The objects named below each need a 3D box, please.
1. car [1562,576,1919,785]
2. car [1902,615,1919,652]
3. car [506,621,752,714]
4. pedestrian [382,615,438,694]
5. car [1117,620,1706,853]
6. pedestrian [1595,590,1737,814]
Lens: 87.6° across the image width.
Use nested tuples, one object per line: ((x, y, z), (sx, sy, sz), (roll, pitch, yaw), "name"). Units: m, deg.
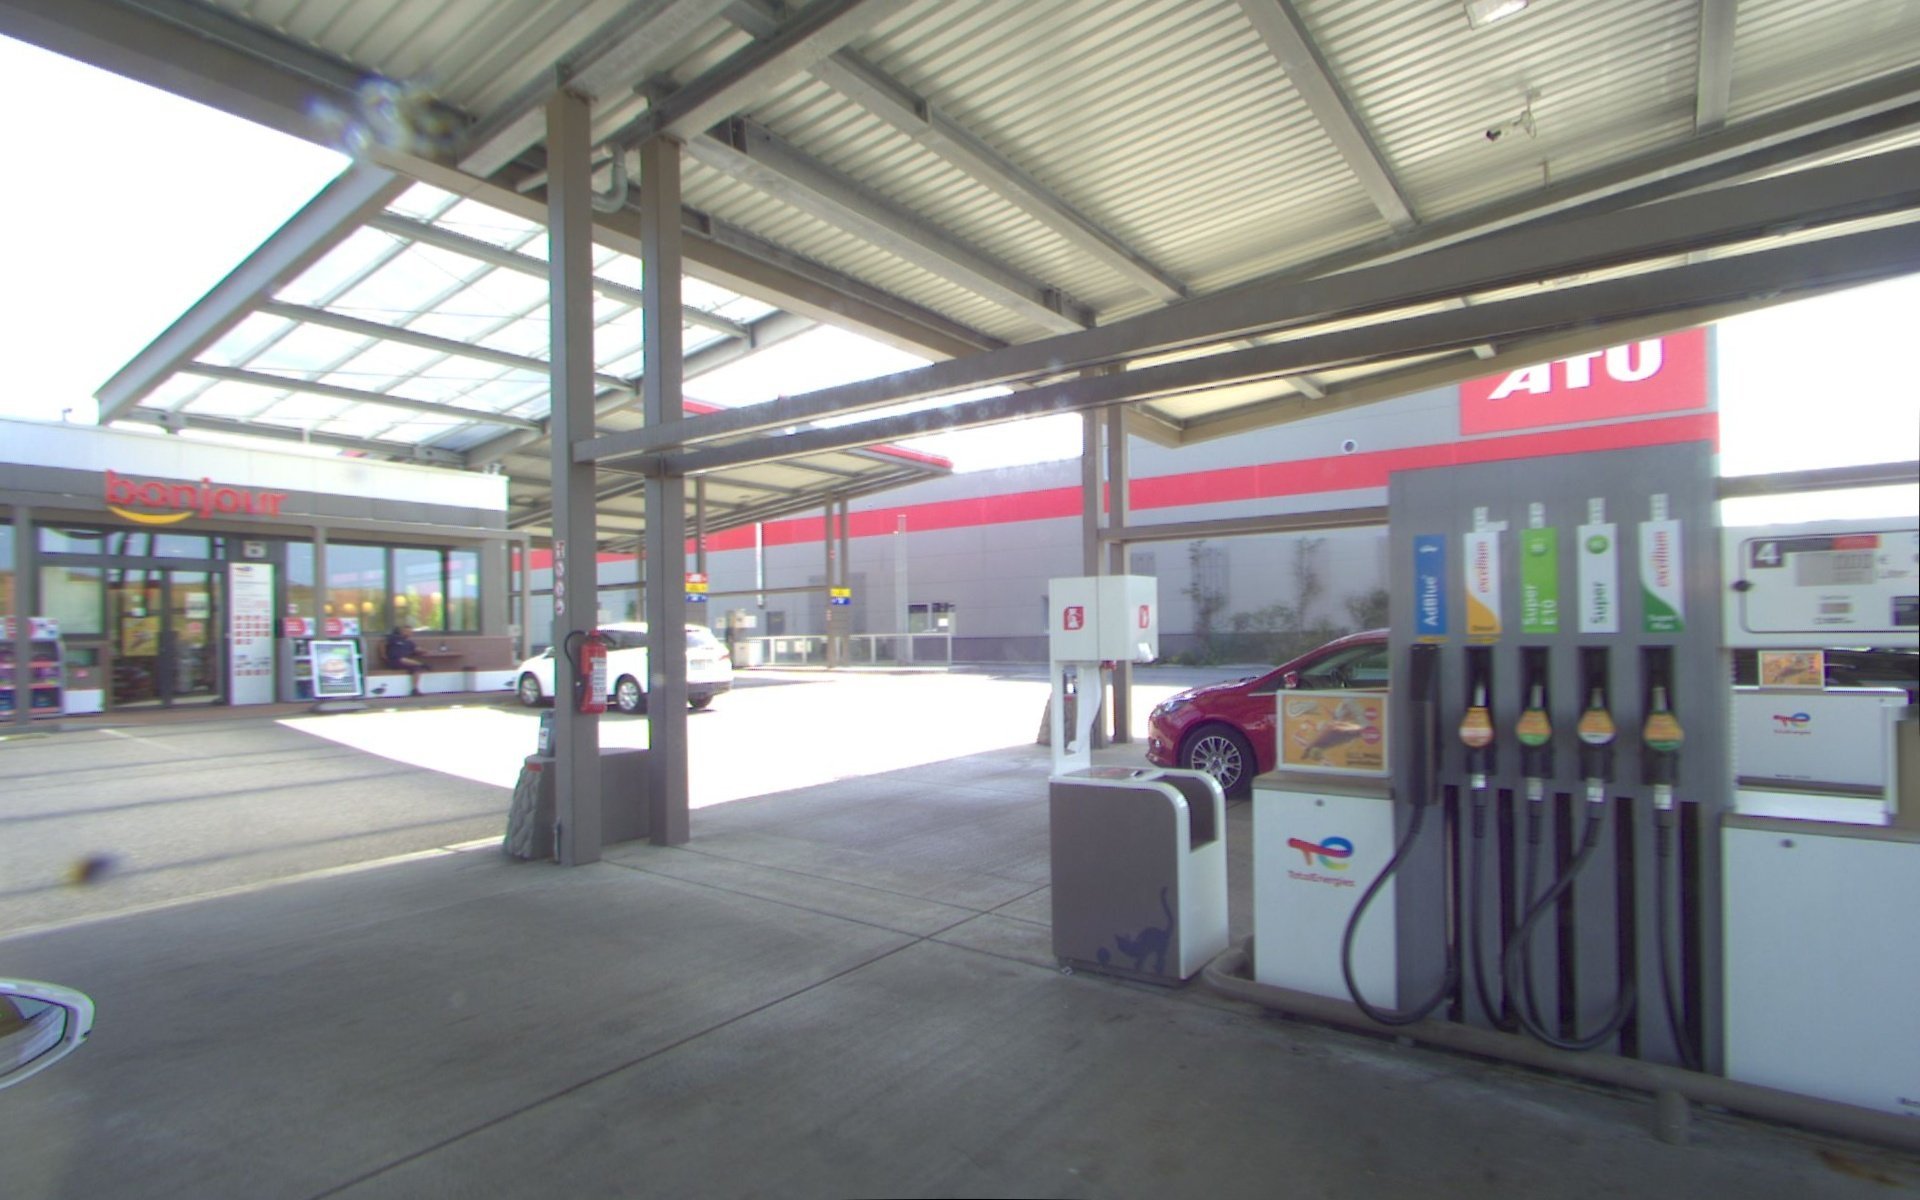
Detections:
((8.889, 0.737, 10.050), (4.734, 1.875, 2.021), (0, 0, 36), "car")
((36.407, 1.185, 35.818), (3.761, 1.334, 1.682), (-1, -1, 2), "car")
((-5.946, 1.133, 17.876), (4.256, 1.475, 1.828), (-1, -1, 30), "car")
((-10.341, 1.004, 18.835), (0.663, 1.450, 0.699), (-1, -1, 35), "pedestrian")
((3.565, 0.923, 8.333), (4.177, 1.488, 1.693), (-1, -1, 36), "car")
((5.836, 0.803, 8.298), (0.916, 1.725, 0.699), (-1, -1, 37), "pedestrian")
